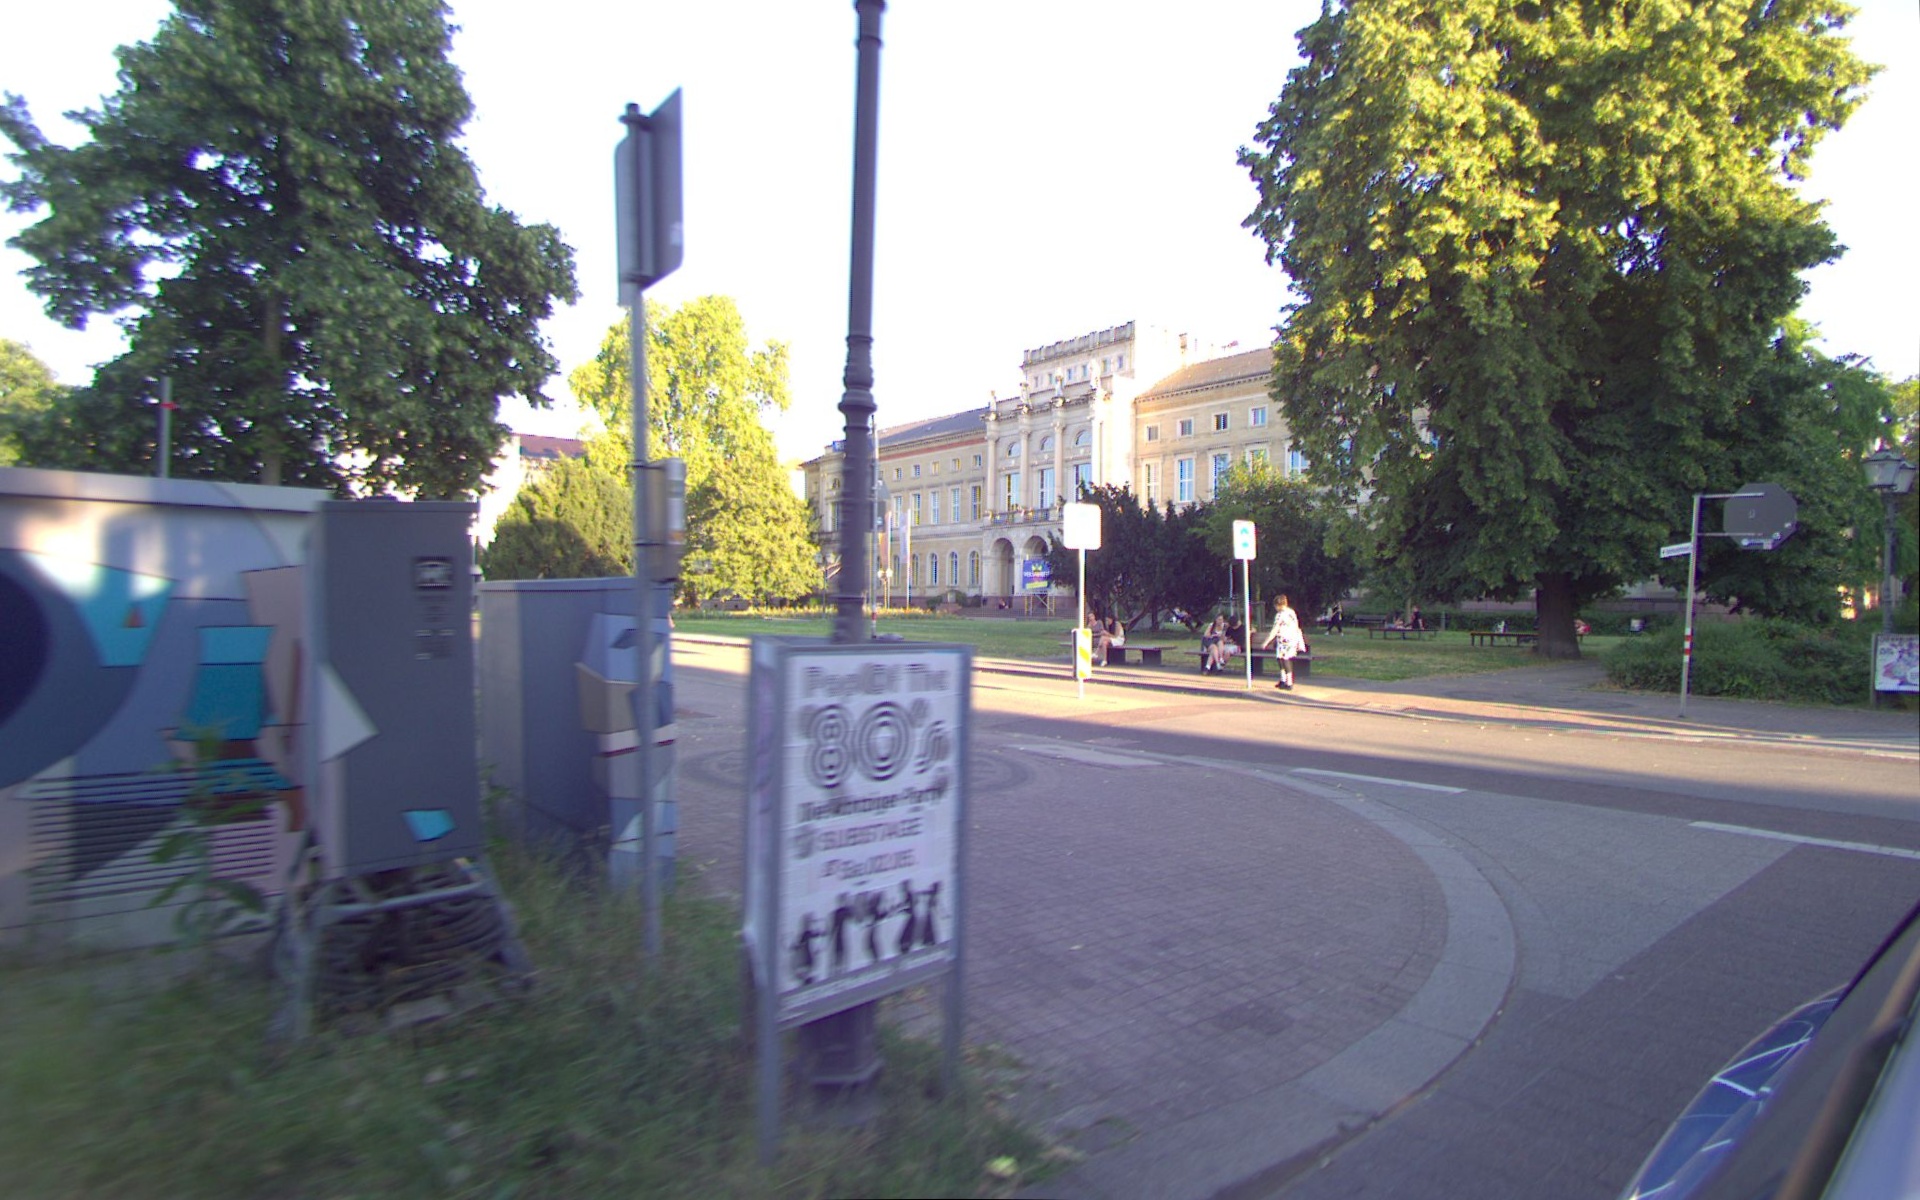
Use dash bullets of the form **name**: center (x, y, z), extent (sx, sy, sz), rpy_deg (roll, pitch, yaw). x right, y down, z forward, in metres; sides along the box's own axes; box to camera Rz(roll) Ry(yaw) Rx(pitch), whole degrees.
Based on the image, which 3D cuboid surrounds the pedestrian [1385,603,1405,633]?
- **pedestrian**: center (16.822, 0.701, 39.160), extent (0.593, 1.123, 0.394), rpy_deg (1, -1, 6)

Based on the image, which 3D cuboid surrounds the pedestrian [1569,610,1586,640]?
- **pedestrian**: center (22.504, 0.911, 36.868), extent (0.390, 1.064, 0.600), rpy_deg (1, -1, 20)

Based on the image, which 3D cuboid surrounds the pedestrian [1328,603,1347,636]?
- **pedestrian**: center (17.028, 0.893, 45.691), extent (0.743, 1.462, 0.814), rpy_deg (1, -1, 17)

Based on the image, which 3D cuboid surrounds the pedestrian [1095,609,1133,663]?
- **pedestrian**: center (3.574, 0.831, 23.492), extent (0.656, 1.229, 0.606), rpy_deg (2, -1, -45)

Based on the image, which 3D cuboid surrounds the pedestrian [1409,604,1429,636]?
- **pedestrian**: center (17.589, 0.757, 38.794), extent (0.594, 1.217, 0.394), rpy_deg (1, -1, 11)

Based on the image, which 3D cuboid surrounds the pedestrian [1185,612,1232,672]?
- **pedestrian**: center (5.217, 0.862, 21.238), extent (0.954, 1.219, 0.527), rpy_deg (2, -1, -45)

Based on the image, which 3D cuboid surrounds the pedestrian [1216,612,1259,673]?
- **pedestrian**: center (5.731, 0.872, 20.912), extent (0.656, 1.219, 0.606), rpy_deg (2, -1, -45)

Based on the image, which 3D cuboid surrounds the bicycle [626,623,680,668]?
- **bicycle**: center (-6.625, 0.958, 21.802), extent (0.536, 0.878, 1.713), rpy_deg (2, -1, -37)

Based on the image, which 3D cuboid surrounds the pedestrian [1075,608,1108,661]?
- **pedestrian**: center (3.122, 0.808, 23.978), extent (0.582, 1.229, 0.499), rpy_deg (2, -1, -45)

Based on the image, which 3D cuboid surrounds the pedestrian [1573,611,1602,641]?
- **pedestrian**: center (22.402, 0.924, 36.118), extent (0.785, 1.064, 0.393), rpy_deg (1, -1, 16)

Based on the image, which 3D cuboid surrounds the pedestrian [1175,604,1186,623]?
- **pedestrian**: center (15.279, 0.965, 70.202), extent (0.582, 1.305, 0.499), rpy_deg (2, -1, -45)

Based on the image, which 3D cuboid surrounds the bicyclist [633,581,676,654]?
- **bicyclist**: center (-6.572, 0.369, 21.753), extent (0.639, 1.547, 0.723), rpy_deg (2, -1, -38)

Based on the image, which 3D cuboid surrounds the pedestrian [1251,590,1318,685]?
- **pedestrian**: center (5.827, 0.654, 18.183), extent (0.742, 1.647, 0.860), rpy_deg (2, -1, -29)
